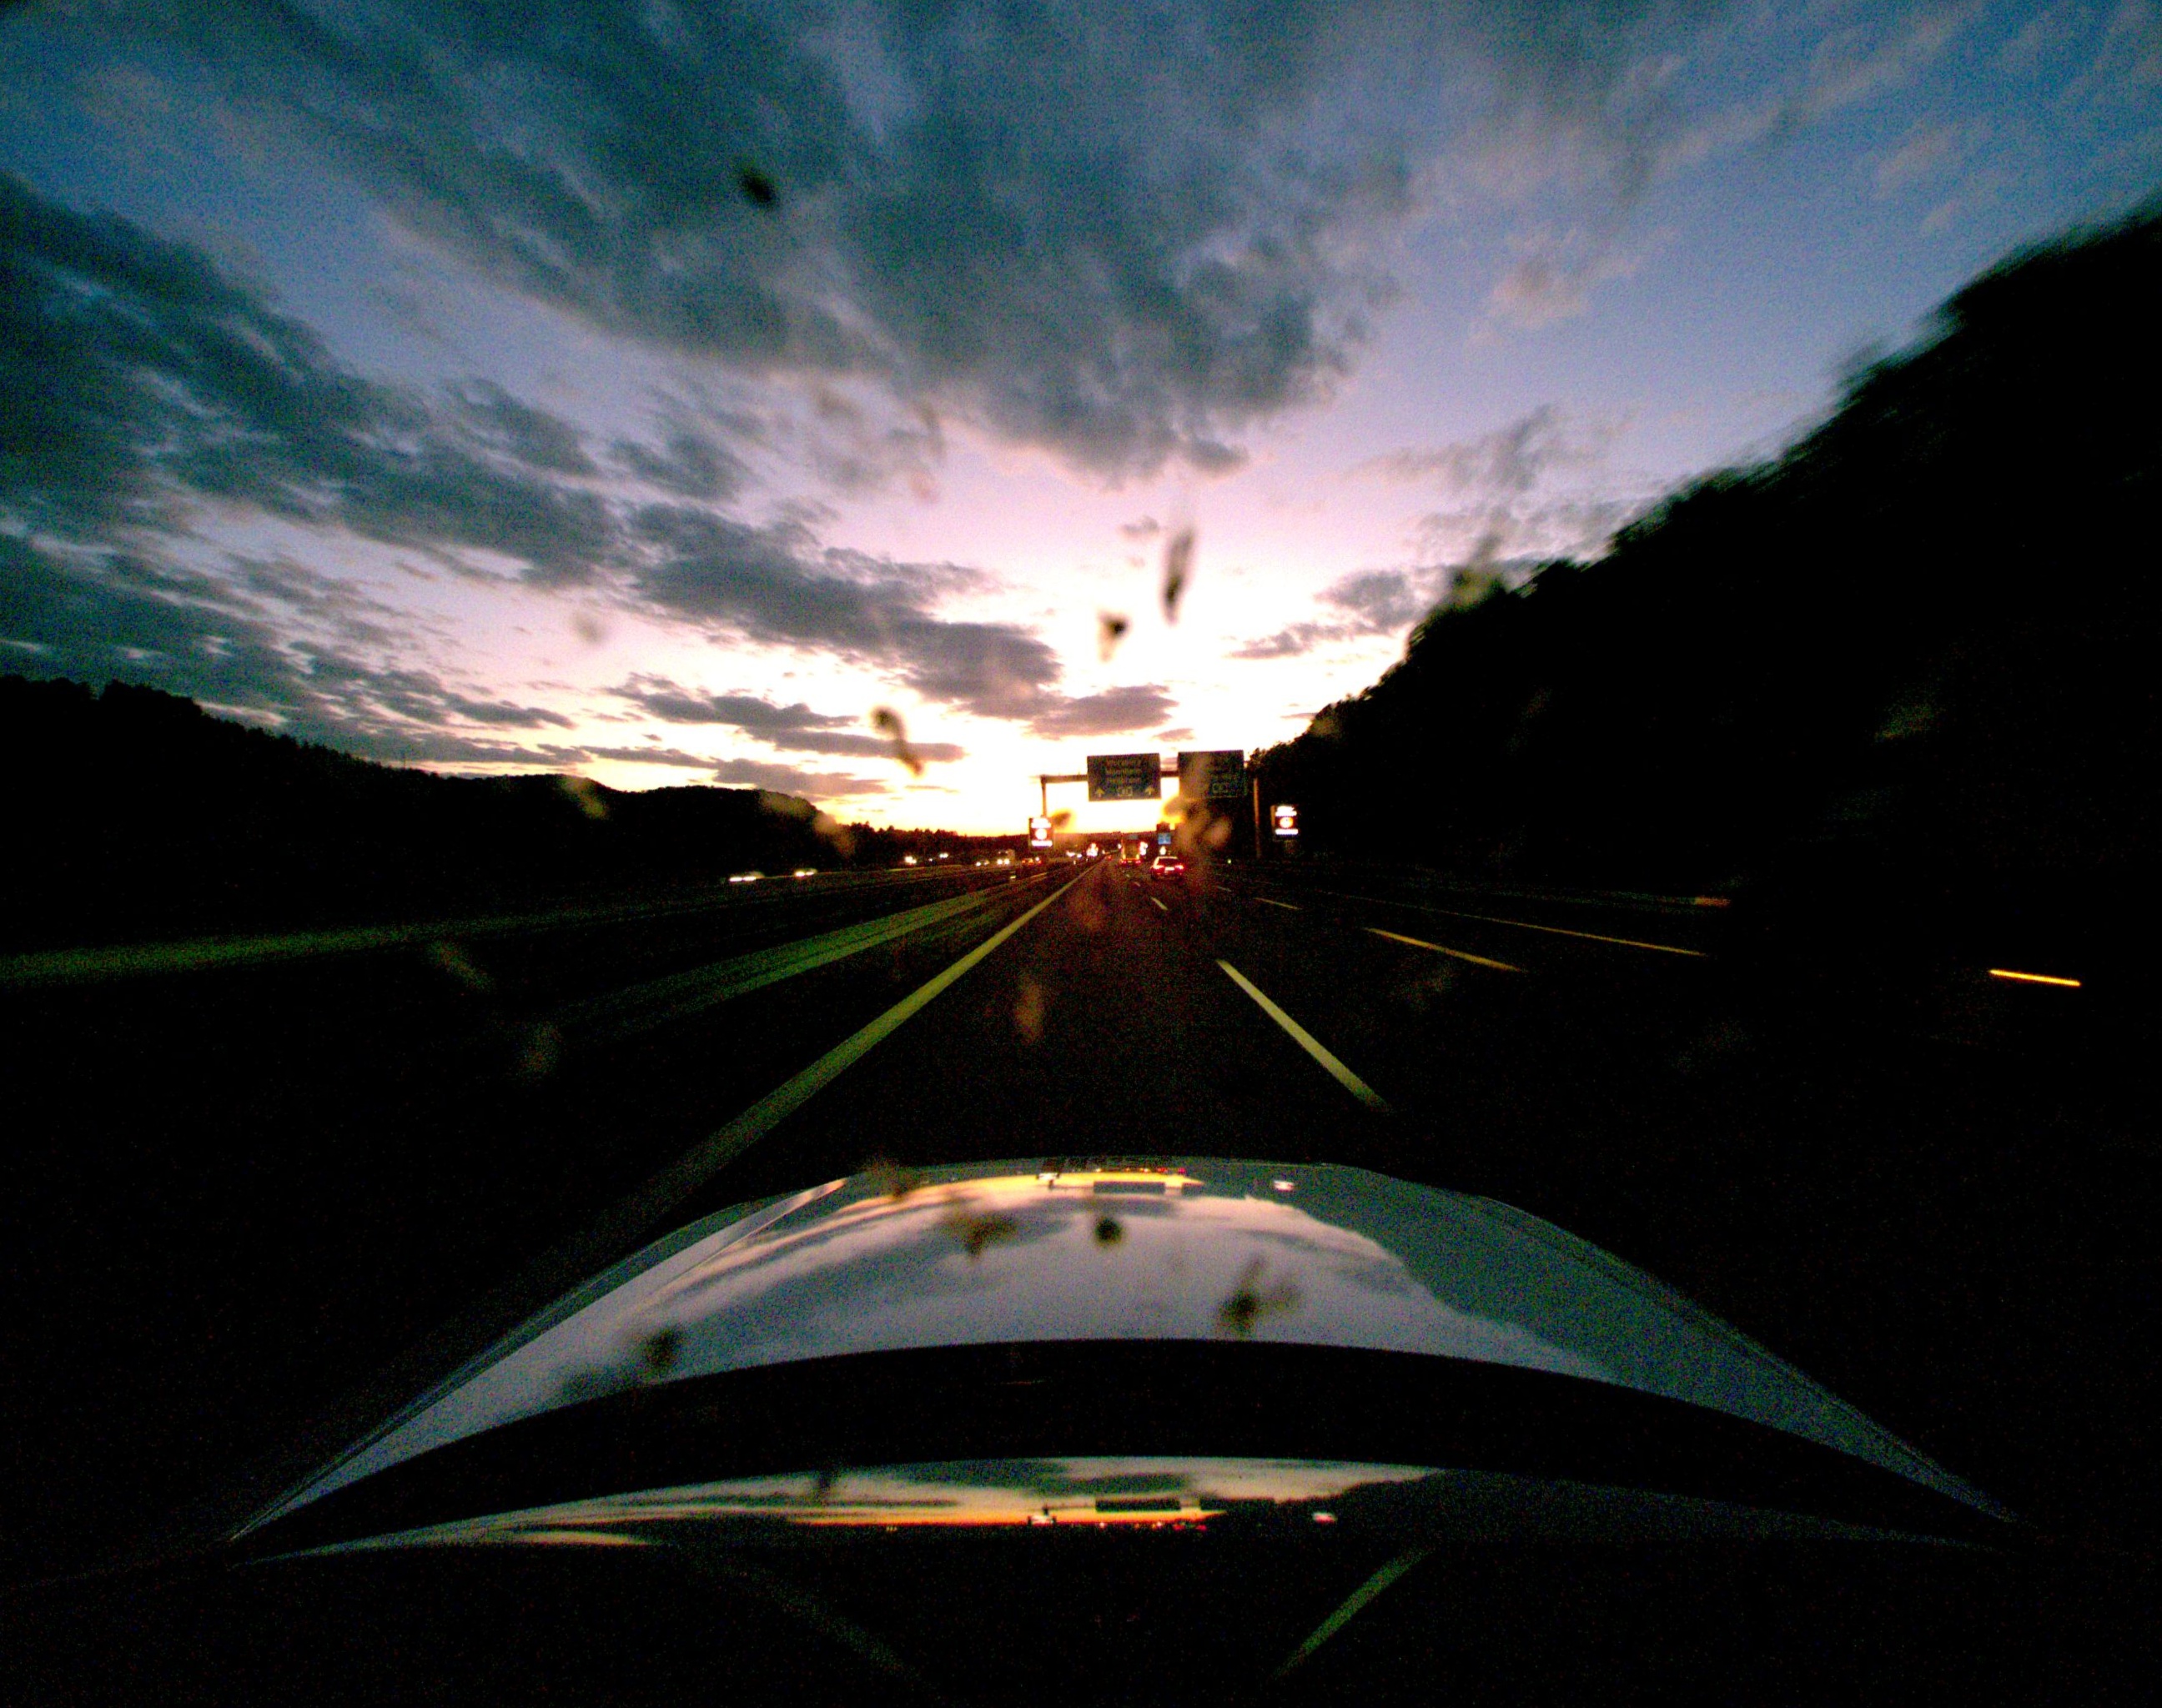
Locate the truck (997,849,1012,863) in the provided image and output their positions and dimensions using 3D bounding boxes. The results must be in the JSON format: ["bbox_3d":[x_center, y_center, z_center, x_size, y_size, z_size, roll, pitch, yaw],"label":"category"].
[{"bbox_3d":[-20.957,0.594,222.126,3.298,3.619,5.498,-2,-1,1],"label":"truck"}]

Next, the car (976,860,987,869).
[{"bbox_3d":[-19.958,2.005,163.256,1.676,1.706,3.753,-1,0,2],"label":"car"}]

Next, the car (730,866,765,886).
[{"bbox_3d":[-36.131,2.384,88.368,1.989,2.014,4.728,-2,-1,-3],"label":"car"}]

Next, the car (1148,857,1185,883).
[{"bbox_3d":[5.181,0.925,49.649,1.908,1.442,4.002,-2,-1,2],"label":"car"}]

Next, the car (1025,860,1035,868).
[{"bbox_3d":[-9.686,1.874,154.892,1.631,1.546,3.396,-2,-1,2],"label":"car"}]

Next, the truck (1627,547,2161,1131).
[{"bbox_3d":[6.640,-0.080,4.954,2.261,2.972,6.631,0,0,0],"label":"truck"}]

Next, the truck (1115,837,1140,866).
[{"bbox_3d":[7.232,-0.330,128.898,3.497,4.301,9.894,-2,-1,2],"label":"truck"}]

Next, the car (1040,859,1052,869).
[{"bbox_3d":[-6.181,1.774,144.663,1.706,1.605,3.723,-2,-1,2],"label":"car"}]
